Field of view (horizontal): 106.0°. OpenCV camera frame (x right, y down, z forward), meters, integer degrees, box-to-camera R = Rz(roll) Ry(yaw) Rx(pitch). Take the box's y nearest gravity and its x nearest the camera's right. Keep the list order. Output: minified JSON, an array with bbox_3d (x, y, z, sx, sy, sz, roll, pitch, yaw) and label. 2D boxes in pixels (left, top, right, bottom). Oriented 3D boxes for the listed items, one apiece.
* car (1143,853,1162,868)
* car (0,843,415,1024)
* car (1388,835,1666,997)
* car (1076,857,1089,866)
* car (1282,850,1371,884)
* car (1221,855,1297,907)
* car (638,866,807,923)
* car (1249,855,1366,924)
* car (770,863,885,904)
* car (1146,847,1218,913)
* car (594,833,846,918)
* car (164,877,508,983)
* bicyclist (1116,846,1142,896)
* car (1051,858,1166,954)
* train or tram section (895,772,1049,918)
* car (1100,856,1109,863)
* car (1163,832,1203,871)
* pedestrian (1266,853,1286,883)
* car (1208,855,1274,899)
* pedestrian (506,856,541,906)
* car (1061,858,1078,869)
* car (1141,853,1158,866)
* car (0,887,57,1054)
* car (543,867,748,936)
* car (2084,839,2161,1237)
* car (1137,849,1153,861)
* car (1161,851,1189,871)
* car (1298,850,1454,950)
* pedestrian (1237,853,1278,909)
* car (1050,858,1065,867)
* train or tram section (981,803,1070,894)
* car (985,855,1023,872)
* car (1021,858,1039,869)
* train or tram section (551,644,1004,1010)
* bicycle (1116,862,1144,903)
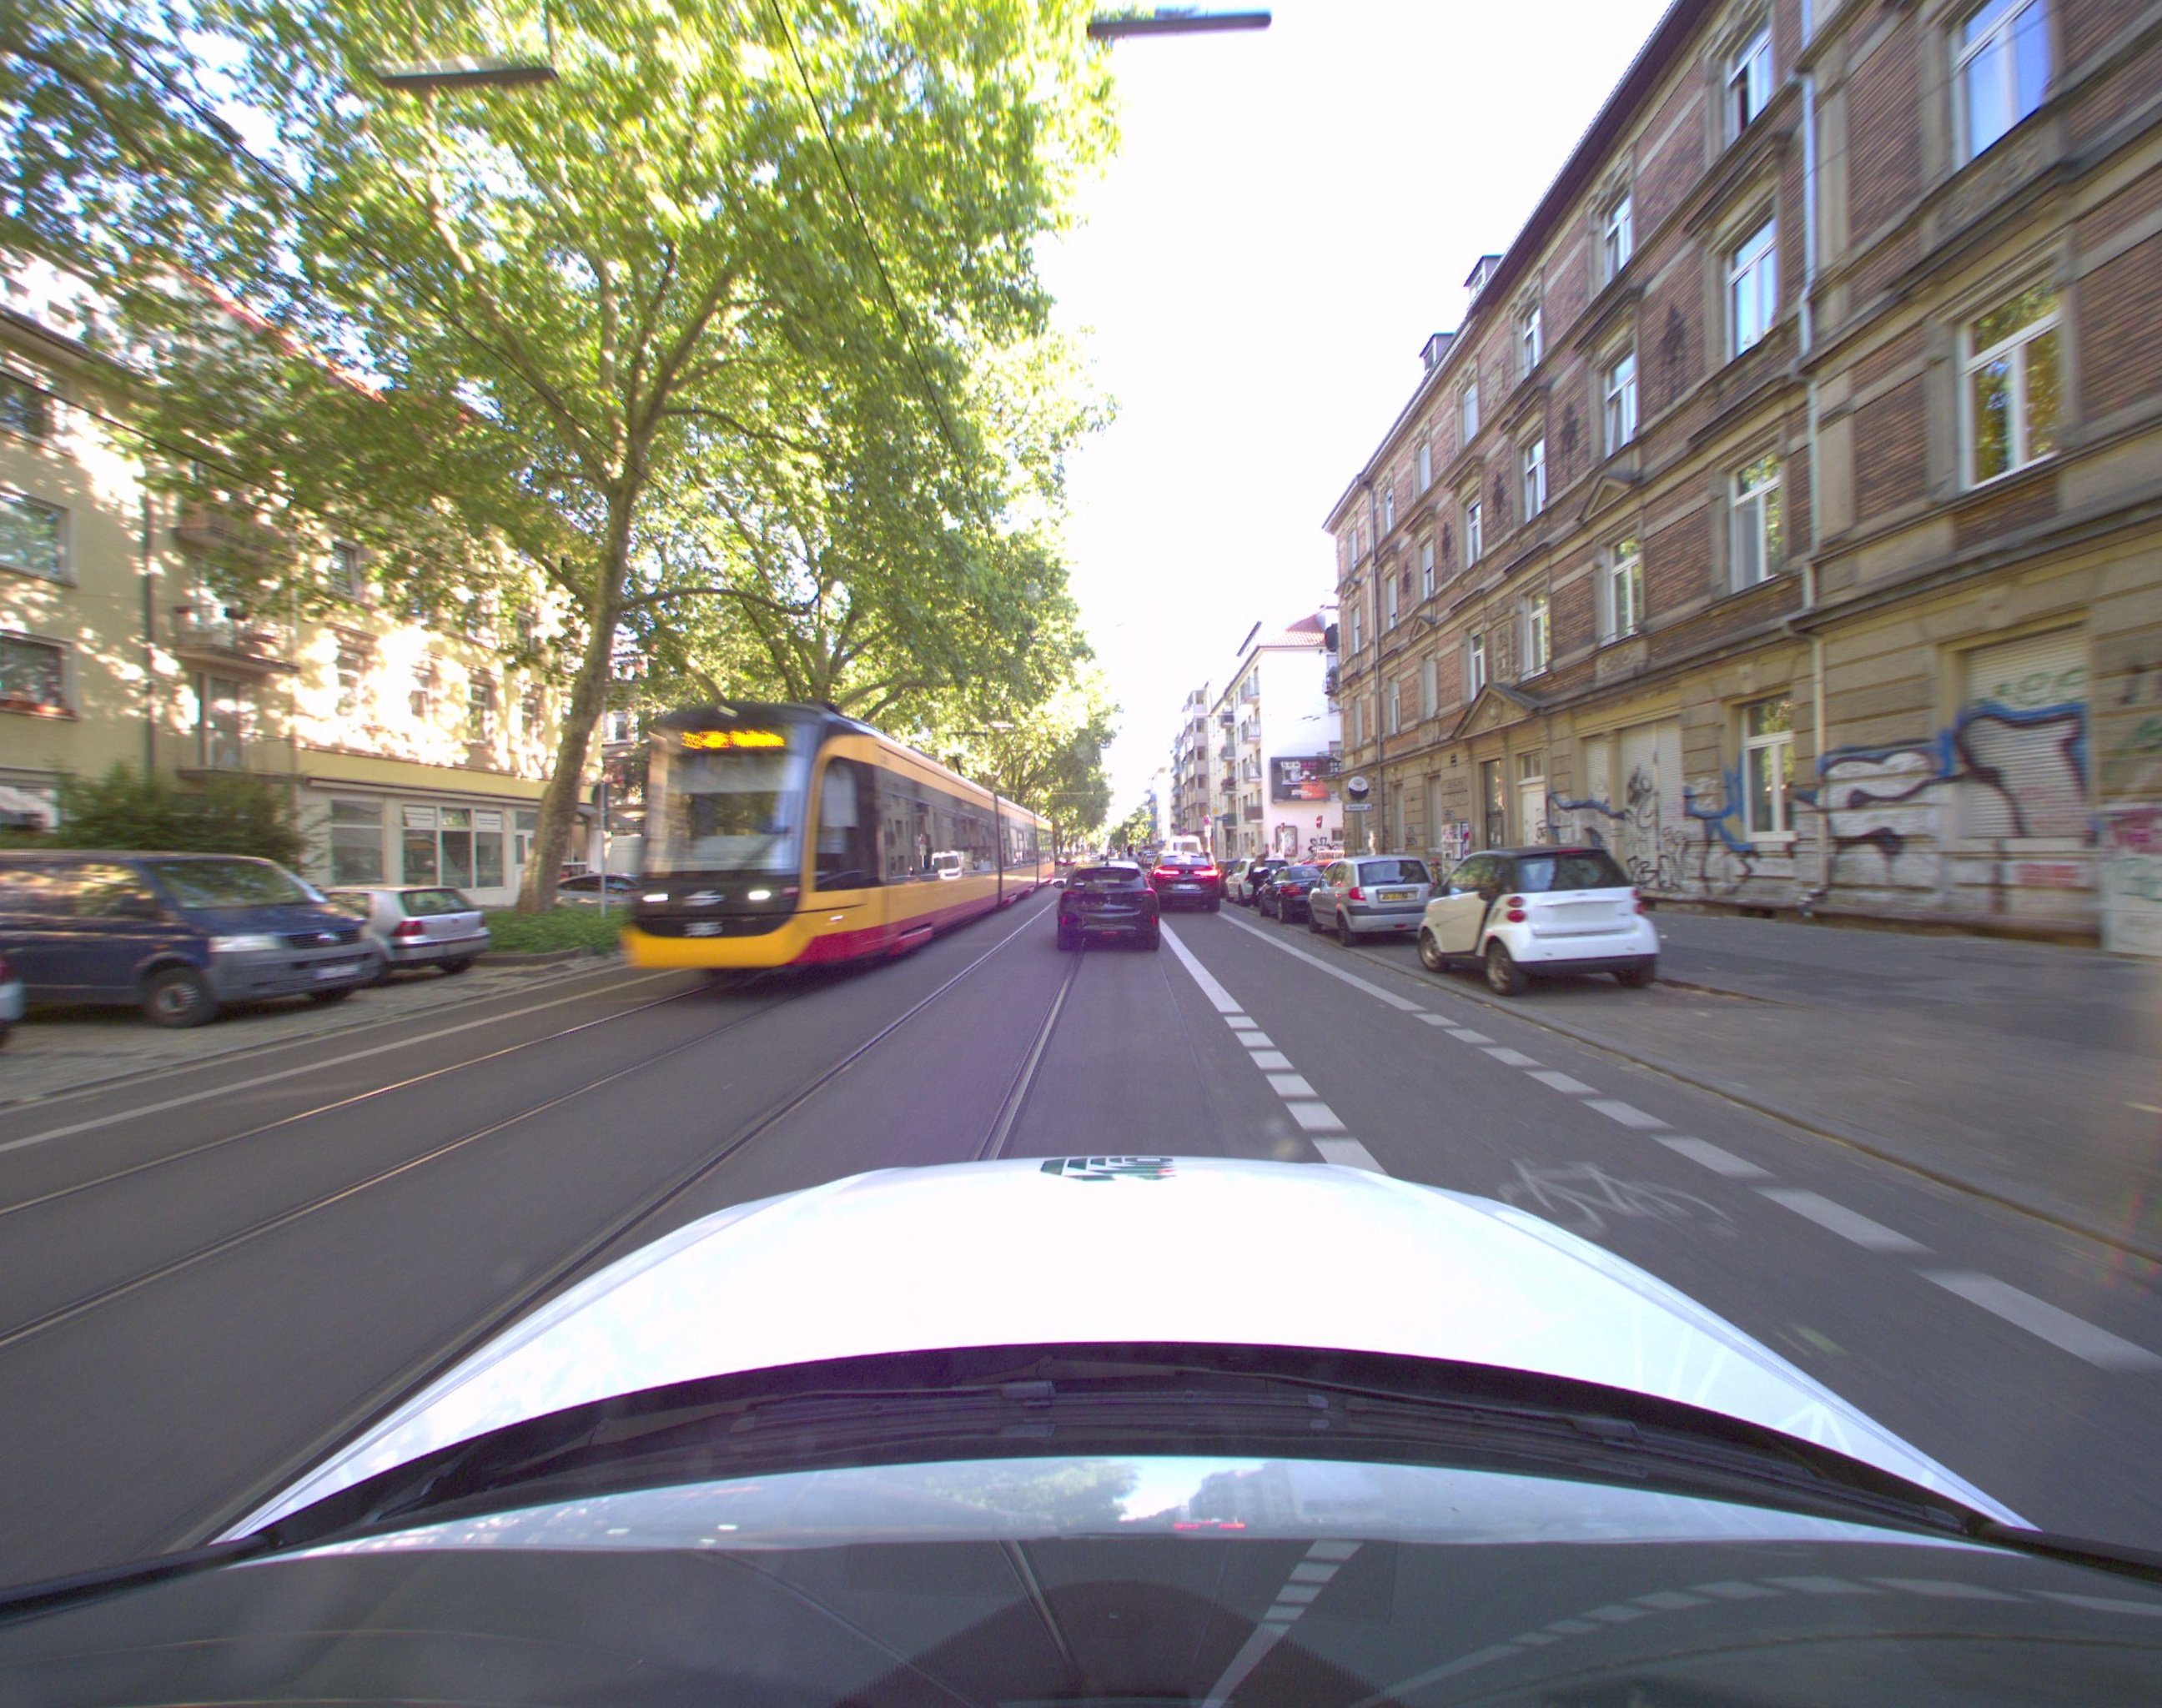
[{"bbox_3d":[7.442,0.656,84.748,1.802,1.338,3.936,-4,0,3],"label":"car"},{"bbox_3d":[-11.181,0.856,9.849,4.656,1.924,1.981,0,-1,3],"label":"car"},{"bbox_3d":[5.086,0.636,9.757,1.562,1.517,3.039,-4,0,0],"label":"car"},{"bbox_3d":[0.304,1.218,131.589,1.802,1.338,3.936,-4,0,3],"label":"car"},{"bbox_3d":[13.490,0.702,44.983,4.362,1.798,1.877,-1,0,1],"label":"car"},{"bbox_3d":[5.558,0.802,25.896,1.655,1.419,3.936,-4,0,3],"label":"car"},{"bbox_3d":[-9.848,1.097,22.575,3.908,1.498,1.676,1,-1,-1],"label":"car"},{"bbox_3d":[5.284,0.772,19.510,1.802,1.338,3.936,-4,0,3],"label":"car"},{"bbox_3d":[-9.746,1.131,31.559,3.908,1.498,1.676,1,-1,-1],"label":"car"},{"bbox_3d":[2.833,0.700,23.627,1.802,1.742,3.936,-1,0,3],"label":"car"},{"bbox_3d":[-10.932,0.637,25.106,6.605,2.409,2.458,0,-1,0],"label":"car"},{"bbox_3d":[-11.176,1.106,12.404,3.720,1.430,1.638,0,-1,1],"label":"car"},{"bbox_3d":[1.718,0.587,29.177,0.845,1.740,1.162,-1,0,1],"label":"bicyclist"},{"bbox_3d":[0.486,0.824,14.608,1.787,1.441,3.533,-1,1,2],"label":"car"},{"bbox_3d":[-3.075,-0.212,27.437,2.723,3.682,12.726,-2,0,3],"label":"train or tram section"},{"bbox_3d":[4.892,1.101,167.659,1.803,1.338,3.934,-1,0,2],"label":"car"},{"bbox_3d":[6.516,-0.139,52.408,2.067,2.219,4.937,-4,0,3],"label":"car"},{"bbox_3d":[10.483,0.743,43.741,0.863,1.567,0.768,-1,0,0],"label":"pedestrian"},{"bbox_3d":[5.934,0.814,30.566,1.802,1.379,3.936,-4,0,3],"label":"car"},{"bbox_3d":[-16.985,0.806,24.822,0.660,1.498,0.626,1,-1,-8],"label":"pedestrian"},{"bbox_3d":[-1.448,1.186,101.655,1.802,1.338,3.936,-1,0,3],"label":"car"},{"bbox_3d":[7.832,0.621,93.326,1.802,1.338,3.936,-4,0,3],"label":"car"},{"bbox_3d":[-11.674,1.049,6.930,3.720,1.498,1.747,0,-1,1],"label":"car"},{"bbox_3d":[-10.190,1.090,19.242,3.904,1.498,1.678,0,-1,3],"label":"car"},{"bbox_3d":[4.806,0.631,1.319,1.704,1.483,3.765,-4,0,2],"label":"car"},{"bbox_3d":[8.015,0.140,102.577,1.802,1.338,3.936,-4,0,3],"label":"car"},{"bbox_3d":[7.036,0.516,61.485,1.802,1.338,3.936,-4,0,3],"label":"car"},{"bbox_3d":[5.181,0.736,14.811,1.697,1.456,3.702,-4,0,5],"label":"car"},{"bbox_3d":[5.036,0.757,23.298,0.769,1.567,0.862,0,-1,-23],"label":"pedestrian"},{"bbox_3d":[-3.414,1.251,118.252,1.802,1.338,3.936,-1,0,3],"label":"car"},{"bbox_3d":[-2.398,-0.197,40.127,2.723,3.682,12.726,-2,0,3],"label":"train or tram section"},{"bbox_3d":[-8.150,1.020,86.722,3.908,1.790,1.676,1,-1,-1],"label":"car"},{"bbox_3d":[-6.443,1.243,102.649,1.802,1.338,3.936,0,0,3],"label":"car"},{"bbox_3d":[-3.742,-0.250,14.735,2.723,3.682,12.726,-2,0,3],"label":"train or tram section"},{"bbox_3d":[1.741,0.994,29.209,0.857,1.407,2.524,-1,0,1],"label":"bicycle"}]
